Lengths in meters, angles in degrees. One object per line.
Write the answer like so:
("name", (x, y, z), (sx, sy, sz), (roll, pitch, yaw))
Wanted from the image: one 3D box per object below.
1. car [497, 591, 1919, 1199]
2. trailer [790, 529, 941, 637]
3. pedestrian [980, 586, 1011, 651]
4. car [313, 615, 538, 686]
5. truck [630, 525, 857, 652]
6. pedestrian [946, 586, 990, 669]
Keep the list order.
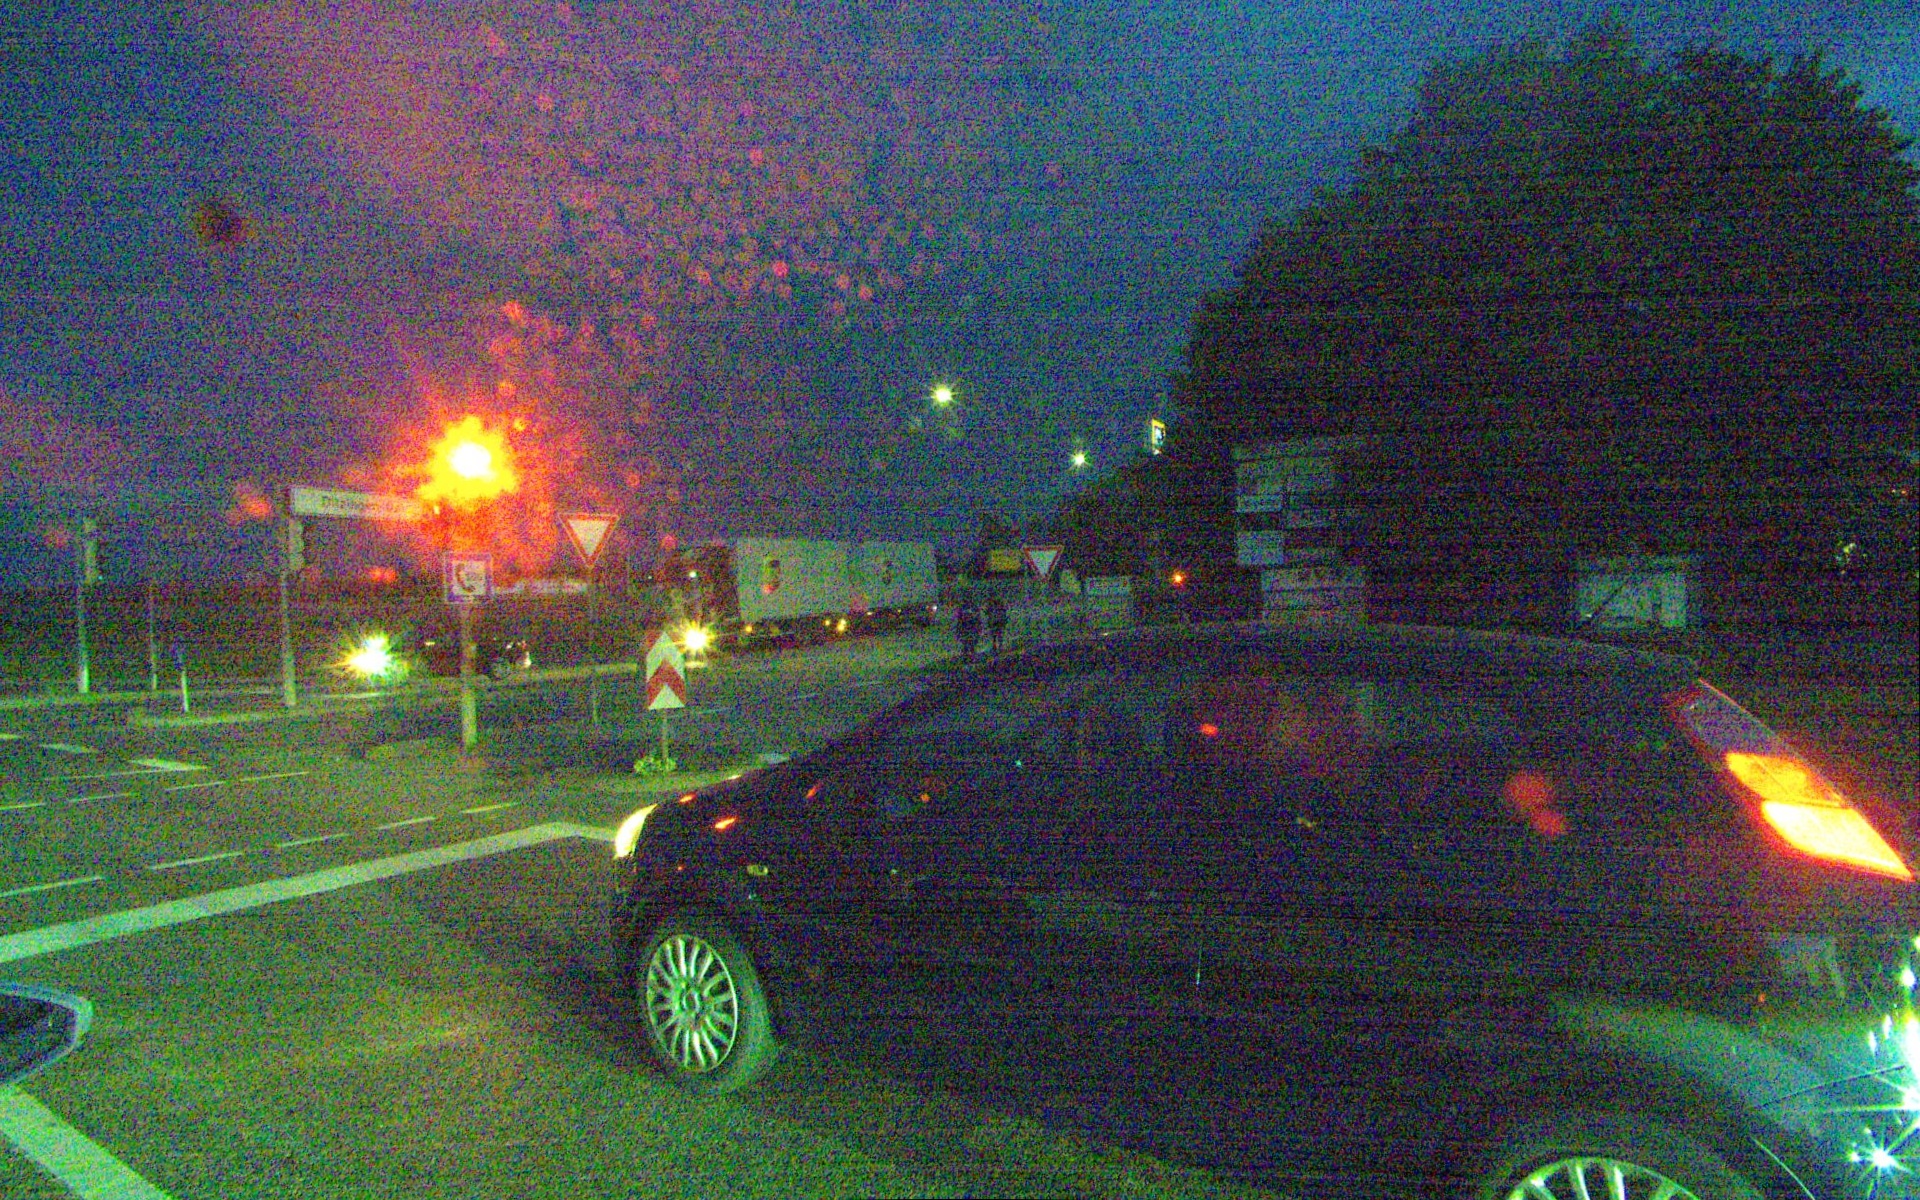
("car", (0.443, 0.797, 3.222), (4.049, 1.540, 1.666), (-1, -1, 34))
("trailer", (-4.012, -0.862, 45.529), (2.875, 4.361, 9.043), (-1, 2, 22))
("pedestrian", (1.077, 0.543, 30.083), (0.860, 1.925, 0.660), (-1, 1, 6))
("car", (-13.171, 1.168, 24.957), (1.972, 1.540, 4.590), (0, 0, 33))
("truck", (-7.515, -0.409, 36.922), (2.876, 4.033, 10.042), (-1, 1, 23))
("pedestrian", (0.198, 0.639, 23.336), (0.861, 1.859, 0.731), (-3, 1, 6))
